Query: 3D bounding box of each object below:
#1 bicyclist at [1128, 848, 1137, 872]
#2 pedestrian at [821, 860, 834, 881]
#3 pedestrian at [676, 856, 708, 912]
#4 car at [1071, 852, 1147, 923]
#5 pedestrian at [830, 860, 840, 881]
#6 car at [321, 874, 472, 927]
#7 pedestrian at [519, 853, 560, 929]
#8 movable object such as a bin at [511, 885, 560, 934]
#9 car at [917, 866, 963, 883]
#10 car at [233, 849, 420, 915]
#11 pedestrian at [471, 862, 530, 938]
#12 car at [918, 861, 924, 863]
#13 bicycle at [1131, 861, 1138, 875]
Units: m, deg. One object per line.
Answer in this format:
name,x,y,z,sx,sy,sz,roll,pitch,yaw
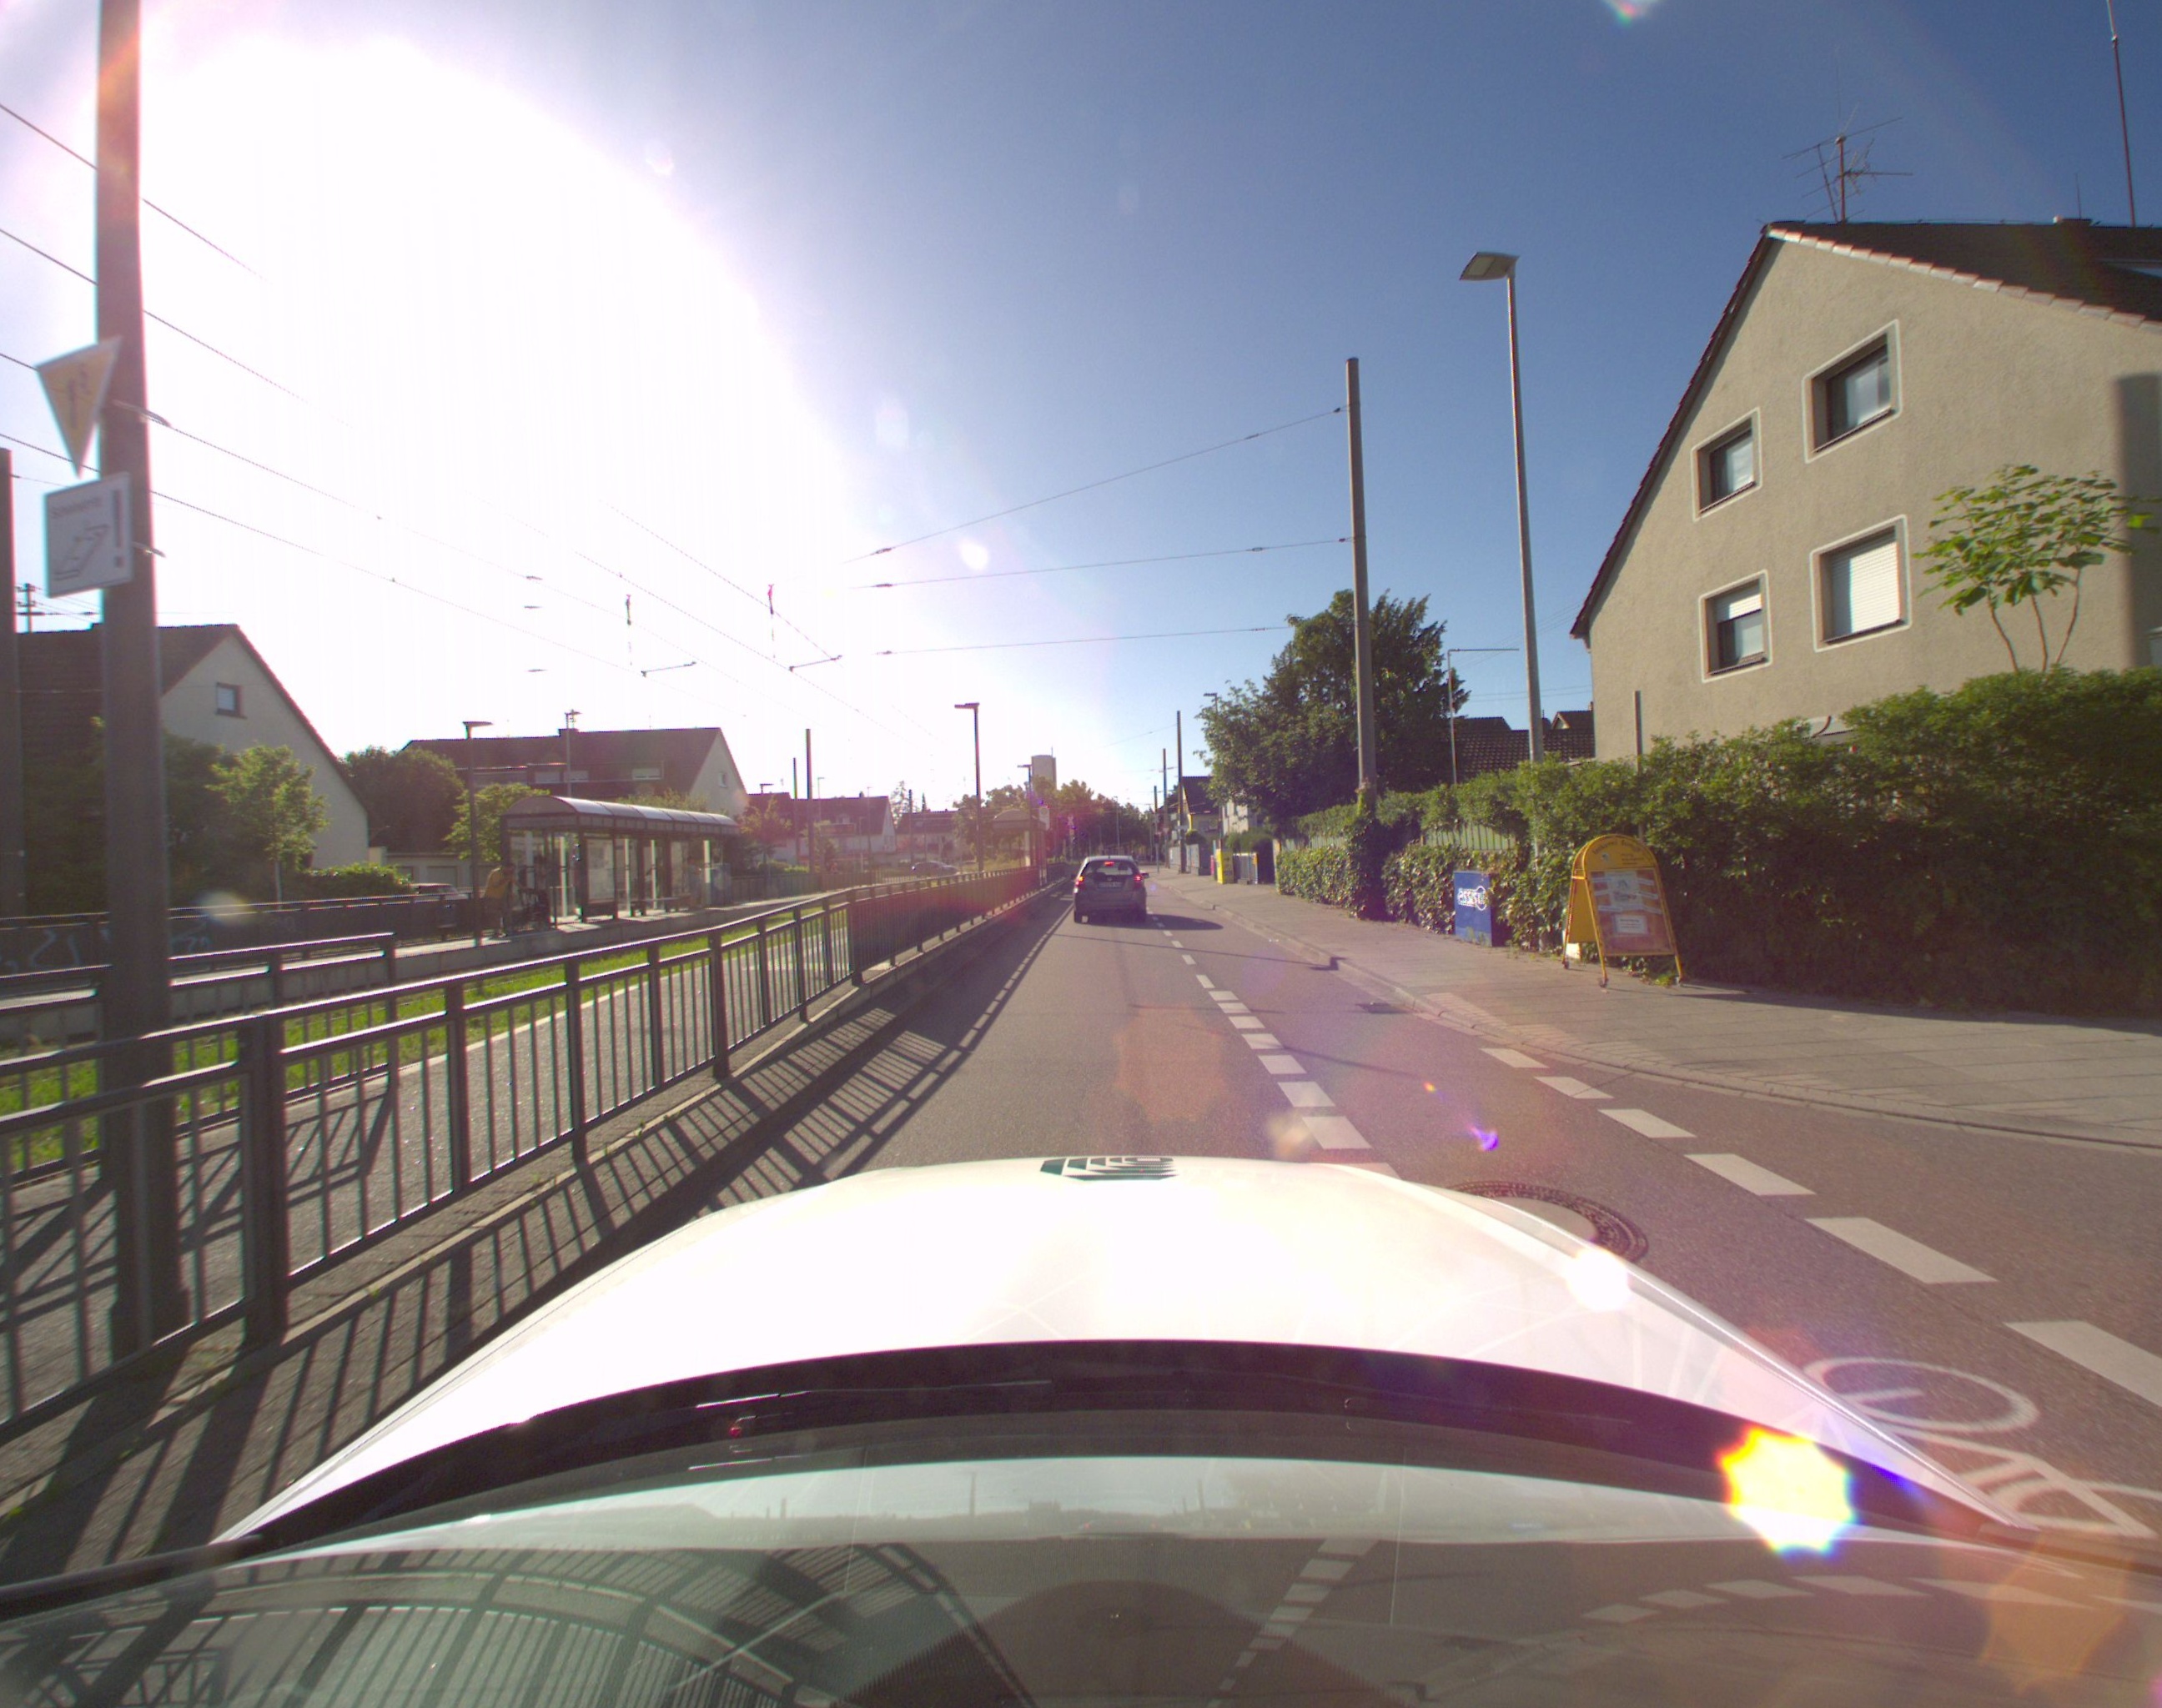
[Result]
bicyclist,3.673,0.446,57.933,0.596,1.701,0.684,-1,-1,2
pedestrian,-21.137,1.374,67.901,0.726,1.762,0.772,-2,0,0
pedestrian,-12.403,0.946,25.989,0.498,1.696,0.772,-4,0,2
car,0.650,0.746,19.713,1.664,1.535,3.487,-1,0,1
pedestrian,-20.870,1.396,69.047,0.591,1.732,0.689,-2,0,0
car,-24.859,1.655,29.714,3.839,1.806,1.796,-1,-1,-6
pedestrian,-12.487,0.835,18.793,0.518,1.708,0.580,-2,0,-3
movable object such as a bin,-11.681,1.177,17.453,0.545,0.988,0.741,-2,0,-2
car,-13.419,1.925,77.658,3.952,1.529,1.817,-1,-1,22
car,-23.948,0.850,26.004,3.982,1.970,1.929,-1,-1,-6
pedestrian,-12.334,0.959,17.333,0.673,1.535,0.748,-2,0,-3
car,-21.353,1.093,108.574,0.695,0.336,0.330,-1,-1,6
bicycle,3.805,1.005,58.082,0.473,0.961,1.658,-1,-1,2
